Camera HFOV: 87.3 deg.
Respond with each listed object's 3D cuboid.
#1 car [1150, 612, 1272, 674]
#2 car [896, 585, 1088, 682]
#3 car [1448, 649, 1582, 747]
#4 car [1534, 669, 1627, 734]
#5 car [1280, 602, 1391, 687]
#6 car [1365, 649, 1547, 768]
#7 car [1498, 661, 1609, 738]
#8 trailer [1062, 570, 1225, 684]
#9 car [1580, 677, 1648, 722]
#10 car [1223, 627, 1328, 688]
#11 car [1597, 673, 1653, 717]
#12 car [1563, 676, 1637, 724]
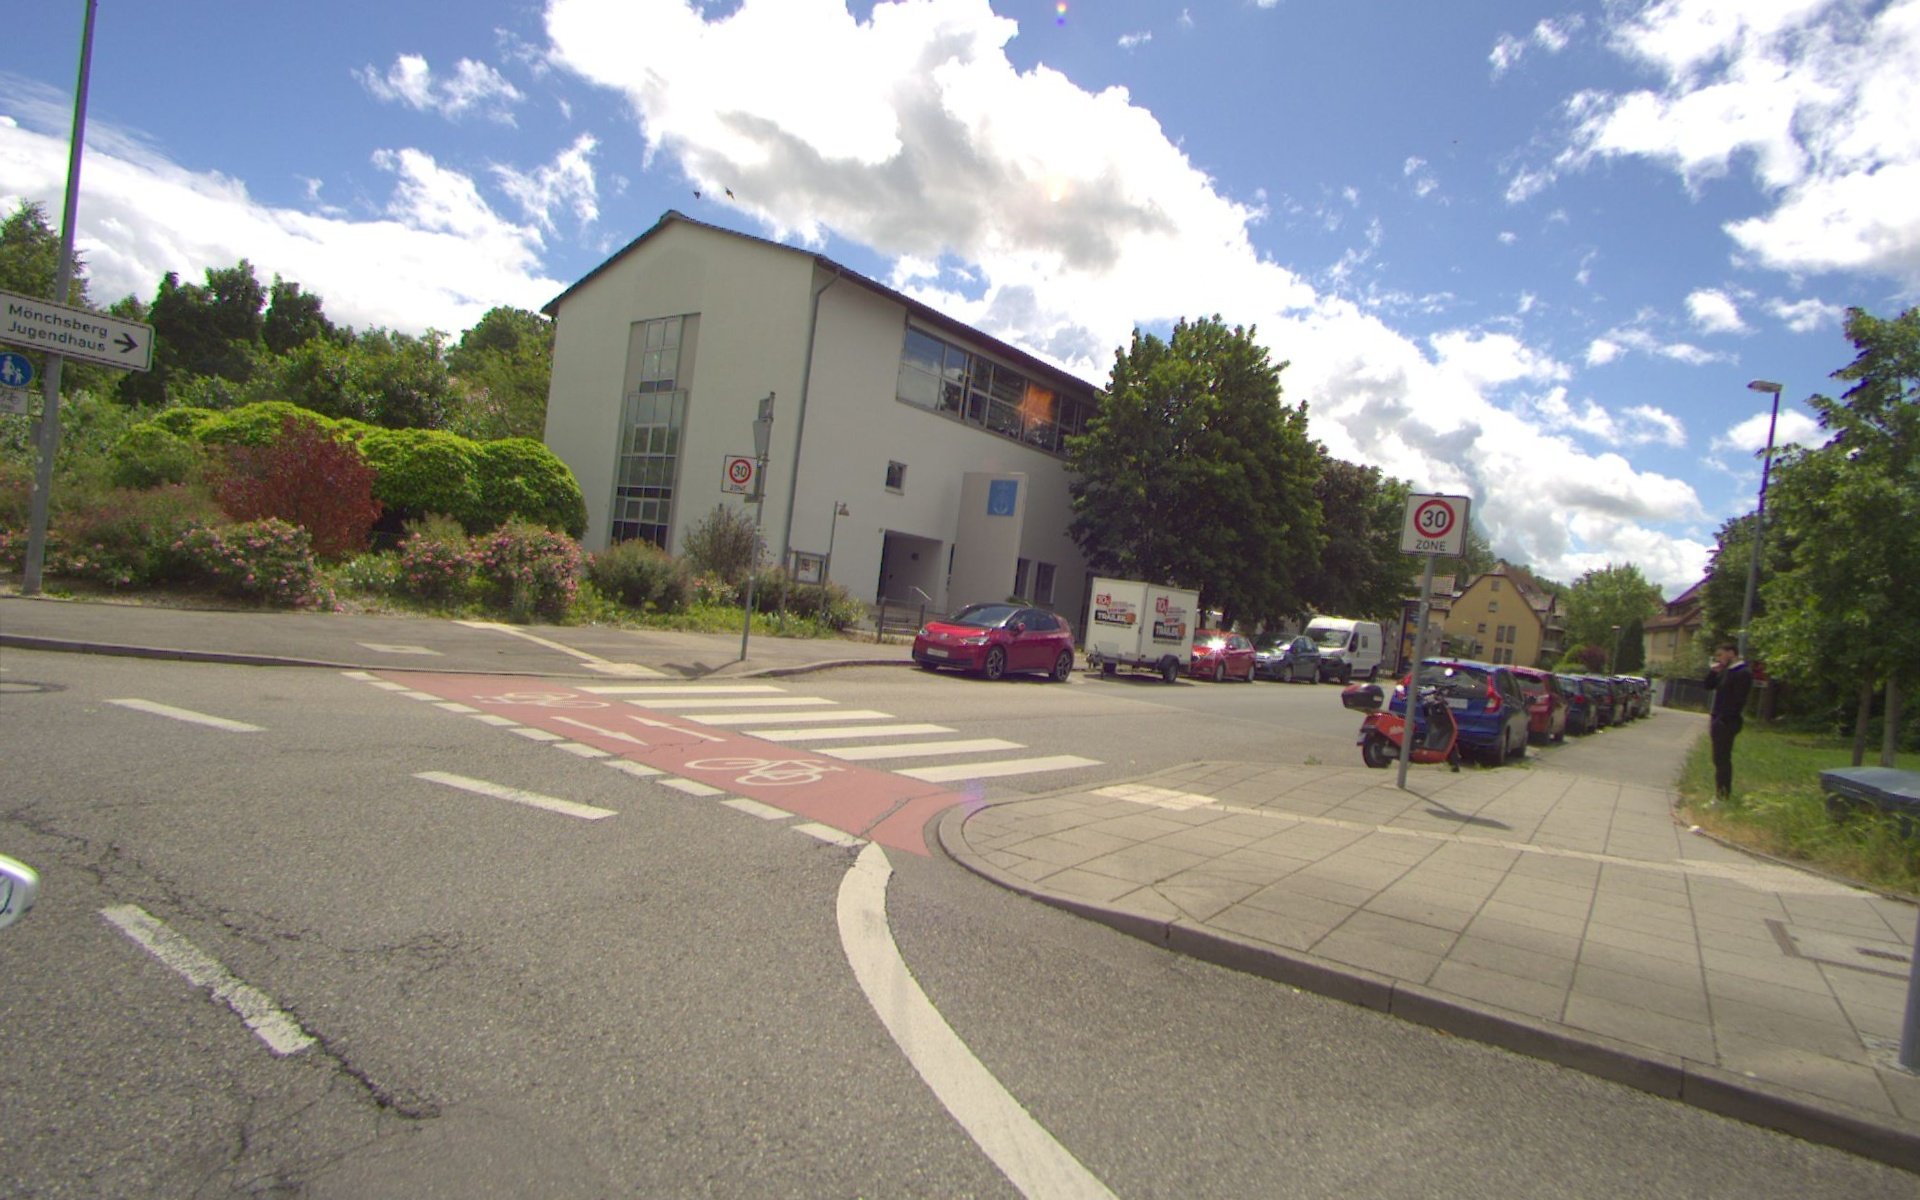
[{"bbox_3d":[7.657,1.340,30.470,1.970,1.522,4.077,8,2,38],"label":"car"},{"bbox_3d":[0.782,0.768,21.263,1.968,1.581,4.158,9,1,35],"label":"car"},{"bbox_3d":[11.848,2.074,21.374,1.802,1.664,3.686,8,0,37],"label":"car"},{"bbox_3d":[18.827,3.025,30.460,1.969,1.579,4.078,7,0,36],"label":"car"},{"bbox_3d":[14.849,1.829,39.554,2.172,2.902,5.571,7,0,39],"label":"car"},{"bbox_3d":[8.239,1.692,16.539,1.867,1.475,3.790,8,2,37],"label":"car"},{"bbox_3d":[15.427,2.532,26.044,1.969,1.579,4.078,7,0,36],"label":"car"},{"bbox_3d":[5.009,0.787,27.028,2.188,2.517,4.535,8,0,38],"label":"trailer"},{"bbox_3d":[25.501,3.879,39.185,1.820,1.382,3.986,8,0,37],"label":"car"},{"bbox_3d":[10.866,1.988,34.487,1.882,1.745,3.981,7,0,41],"label":"car"},{"bbox_3d":[29.150,4.120,44.045,1.764,1.610,3.986,6,0,36],"label":"car"},{"bbox_3d":[22.067,3.402,34.622,1.839,1.302,3.987,7,0,35],"label":"car"}]
